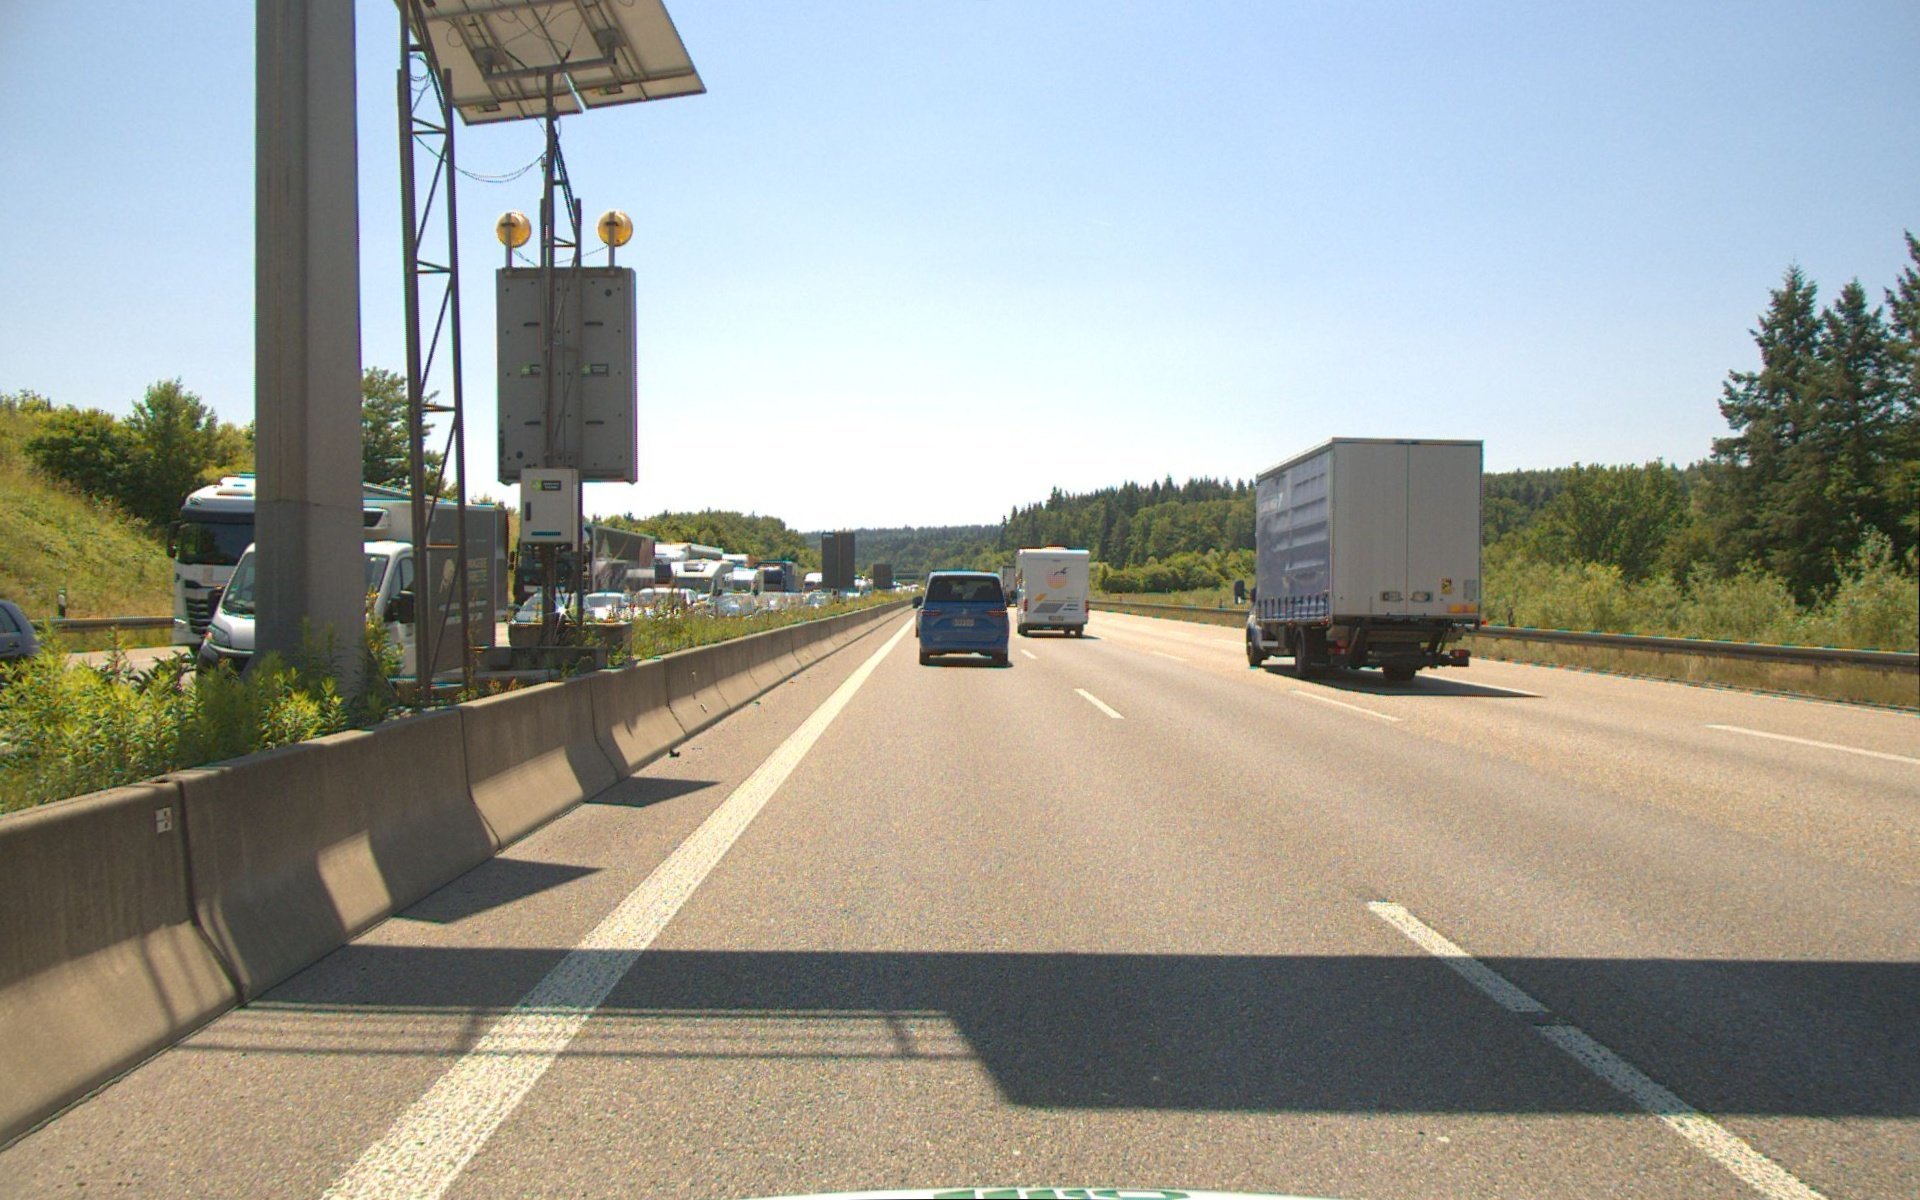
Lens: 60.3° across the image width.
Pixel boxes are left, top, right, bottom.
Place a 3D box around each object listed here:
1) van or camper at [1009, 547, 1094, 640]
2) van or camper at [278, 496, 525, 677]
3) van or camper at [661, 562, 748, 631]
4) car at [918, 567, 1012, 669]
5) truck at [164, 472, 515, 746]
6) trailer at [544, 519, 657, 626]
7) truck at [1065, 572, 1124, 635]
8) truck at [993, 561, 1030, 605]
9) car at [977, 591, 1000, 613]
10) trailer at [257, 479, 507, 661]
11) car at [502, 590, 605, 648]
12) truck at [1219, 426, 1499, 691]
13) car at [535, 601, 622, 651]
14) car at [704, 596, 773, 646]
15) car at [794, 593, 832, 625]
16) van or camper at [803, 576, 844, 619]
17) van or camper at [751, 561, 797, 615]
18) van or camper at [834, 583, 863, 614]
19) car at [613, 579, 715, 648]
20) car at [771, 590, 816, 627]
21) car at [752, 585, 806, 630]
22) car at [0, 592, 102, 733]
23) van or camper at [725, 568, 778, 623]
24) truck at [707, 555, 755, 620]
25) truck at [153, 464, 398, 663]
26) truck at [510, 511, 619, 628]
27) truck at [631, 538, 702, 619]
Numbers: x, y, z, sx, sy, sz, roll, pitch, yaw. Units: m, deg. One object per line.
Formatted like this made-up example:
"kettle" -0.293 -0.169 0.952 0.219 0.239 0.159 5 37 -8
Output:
"van or camper" 3.232 -0.304 59.982 2.550 3.132 7.182 1 1 -1
"van or camper" -11.675 -0.232 35.484 2.477 3.418 7.943 1 0 1
"van or camper" -11.717 -0.122 76.532 2.783 3.000 8.111 1 0 -1
"car" 0.055 0.329 35.183 1.870 2.049 3.999 0 1 -1
"truck" -7.457 0.112 20.772 2.077 2.891 6.211 1 0 -1
"trailer" -15.665 -1.092 72.909 2.732 4.315 10.790 0 0 -1
"truck" 8.142 0.142 101.034 2.868 3.637 8.526 -1 1 0
"truck" 5.219 -1.688 168.788 3.416 4.243 8.640 1 0 -1
"car" 2.389 0.200 140.326 1.781 1.825 3.893 1 0 -1
"trailer" -15.572 -0.700 45.818 2.724 4.380 11.710 0 0 0
"car" -11.548 0.526 47.350 1.775 1.564 4.828 1 0 -1
"truck" 7.168 -0.641 31.425 2.727 4.200 9.737 1 0 -1
"car" -12.725 0.837 55.442 1.775 1.570 4.997 1 0 -1
"car" -7.816 0.737 58.687 1.775 1.662 5.029 1 0 -1
"car" -8.270 0.498 93.375 1.775 1.760 4.934 1 0 -1
"van or camper" -8.535 -0.148 103.775 2.148 2.585 6.415 0 0 -1
"van or camper" -12.223 -0.736 109.138 2.266 3.449 7.678 0 0 -1
"van or camper" -9.441 -0.120 139.930 2.148 2.550 6.056 0 0 -1
"car" -7.611 0.341 42.967 1.775 1.662 5.029 1 0 -1
"car" -8.334 0.437 83.079 1.775 1.760 4.972 1 0 -1
"car" -7.910 0.332 72.706 1.775 1.841 5.542 1 0 -1
"car" -11.547 0.680 18.208 1.739 1.576 4.759 1 0 -1
"van or camper" -11.732 -0.219 93.431 2.107 2.974 7.223 1 0 -1
"truck" -16.217 -0.857 117.684 2.537 4.401 7.290 1 0 -2
"truck" -15.615 -0.742 38.366 2.724 4.186 7.029 0 0 0
"truck" -15.617 -1.124 65.752 2.725 4.380 7.028 0 0 -1
"truck" -15.800 -1.090 89.430 2.744 4.200 6.140 1 0 -1
